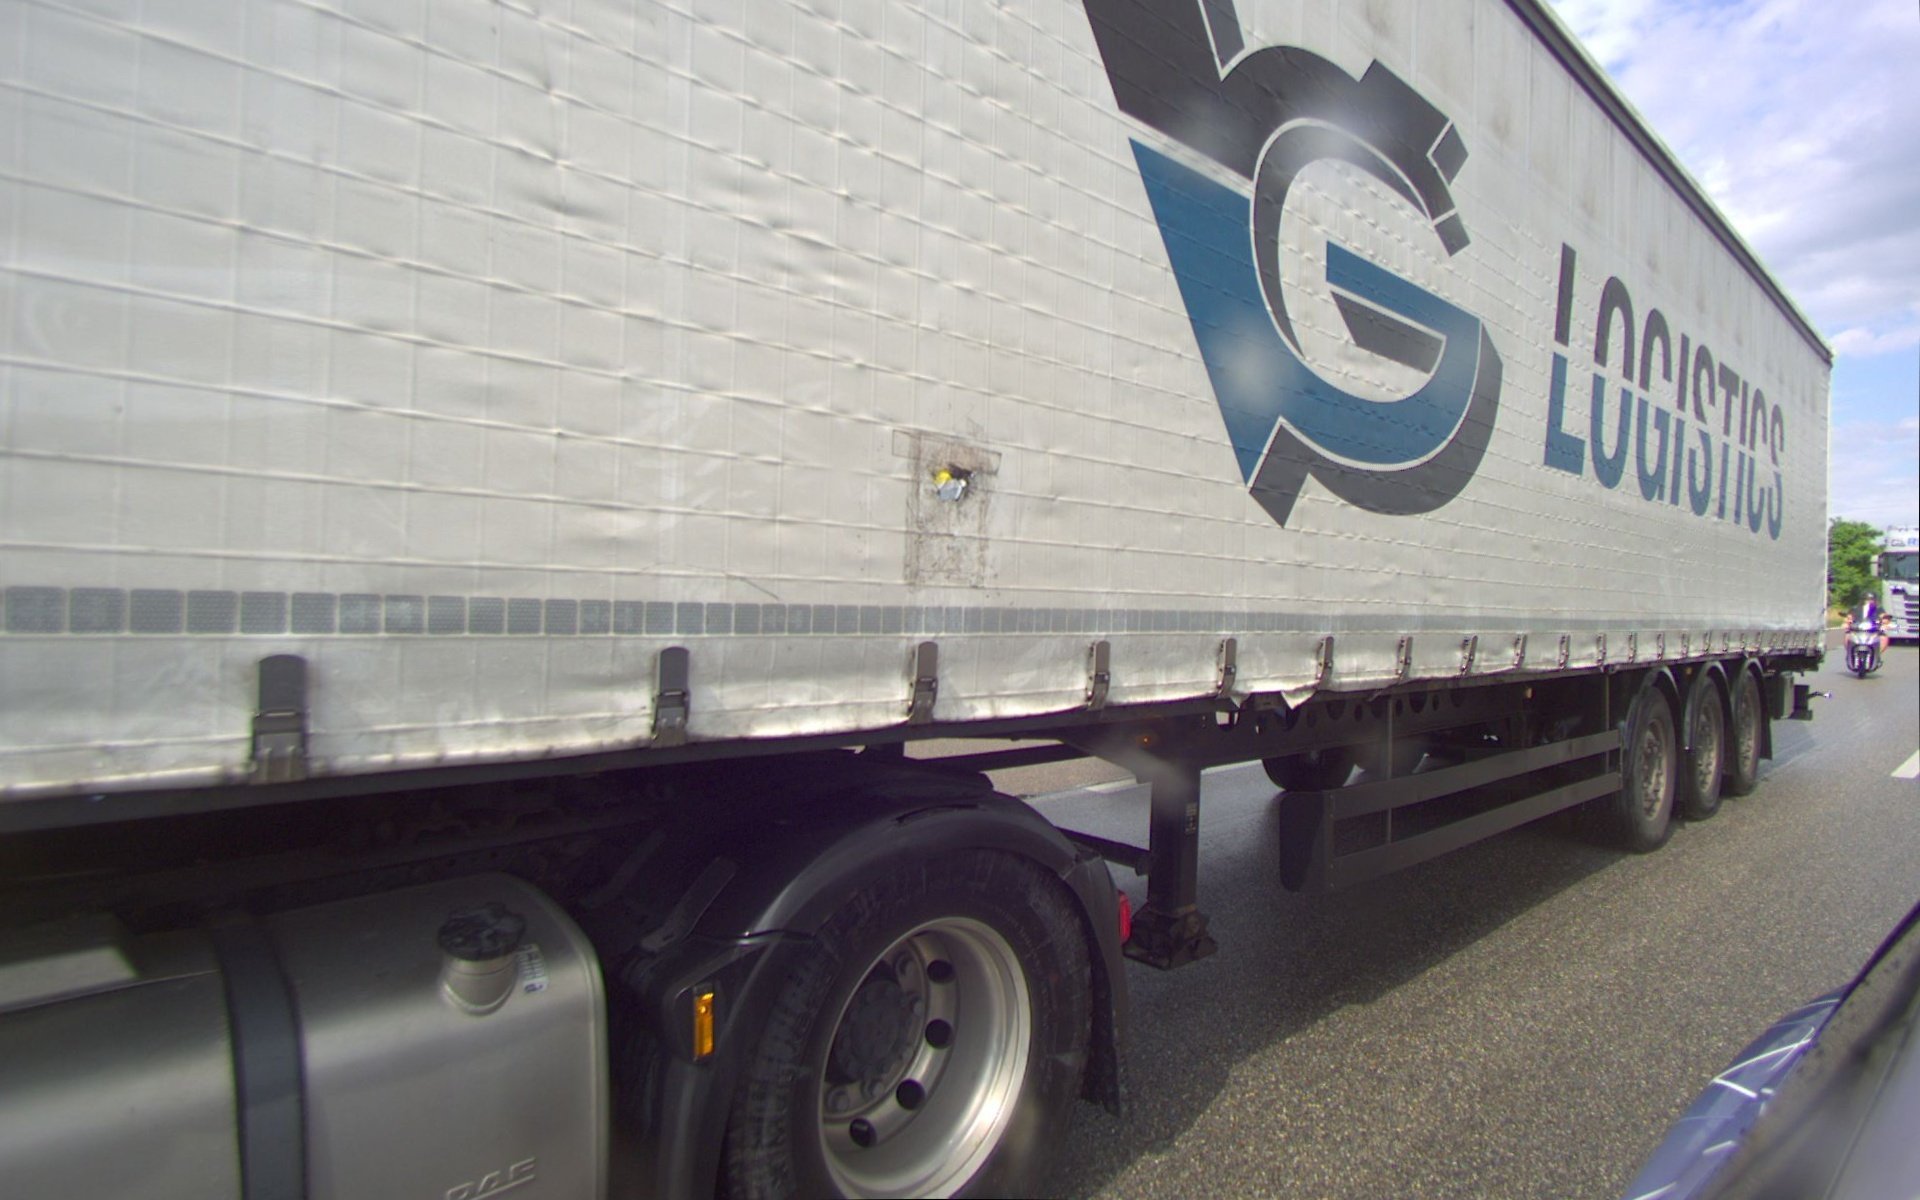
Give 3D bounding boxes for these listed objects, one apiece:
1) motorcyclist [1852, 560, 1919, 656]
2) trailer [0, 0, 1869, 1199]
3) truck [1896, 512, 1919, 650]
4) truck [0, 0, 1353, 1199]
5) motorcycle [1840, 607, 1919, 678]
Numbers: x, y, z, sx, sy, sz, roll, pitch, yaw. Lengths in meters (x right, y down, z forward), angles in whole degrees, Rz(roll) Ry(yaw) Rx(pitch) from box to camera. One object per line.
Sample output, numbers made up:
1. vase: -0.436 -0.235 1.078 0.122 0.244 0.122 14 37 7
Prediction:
1. motorcyclist: 17.294 0.141 18.893 0.984 1.728 0.882 0 0 -44
2. trailer: 2.341 -0.637 6.090 13.887 3.948 3.288 0 0 -42
3. truck: 33.080 -0.628 33.618 6.773 4.328 2.644 -1 1 -45
4. truck: -2.363 -0.571 1.826 6.287 3.940 3.288 0 0 -42
5. motorcycle: 17.510 0.751 19.063 3.143 1.163 1.185 -1 1 -45
